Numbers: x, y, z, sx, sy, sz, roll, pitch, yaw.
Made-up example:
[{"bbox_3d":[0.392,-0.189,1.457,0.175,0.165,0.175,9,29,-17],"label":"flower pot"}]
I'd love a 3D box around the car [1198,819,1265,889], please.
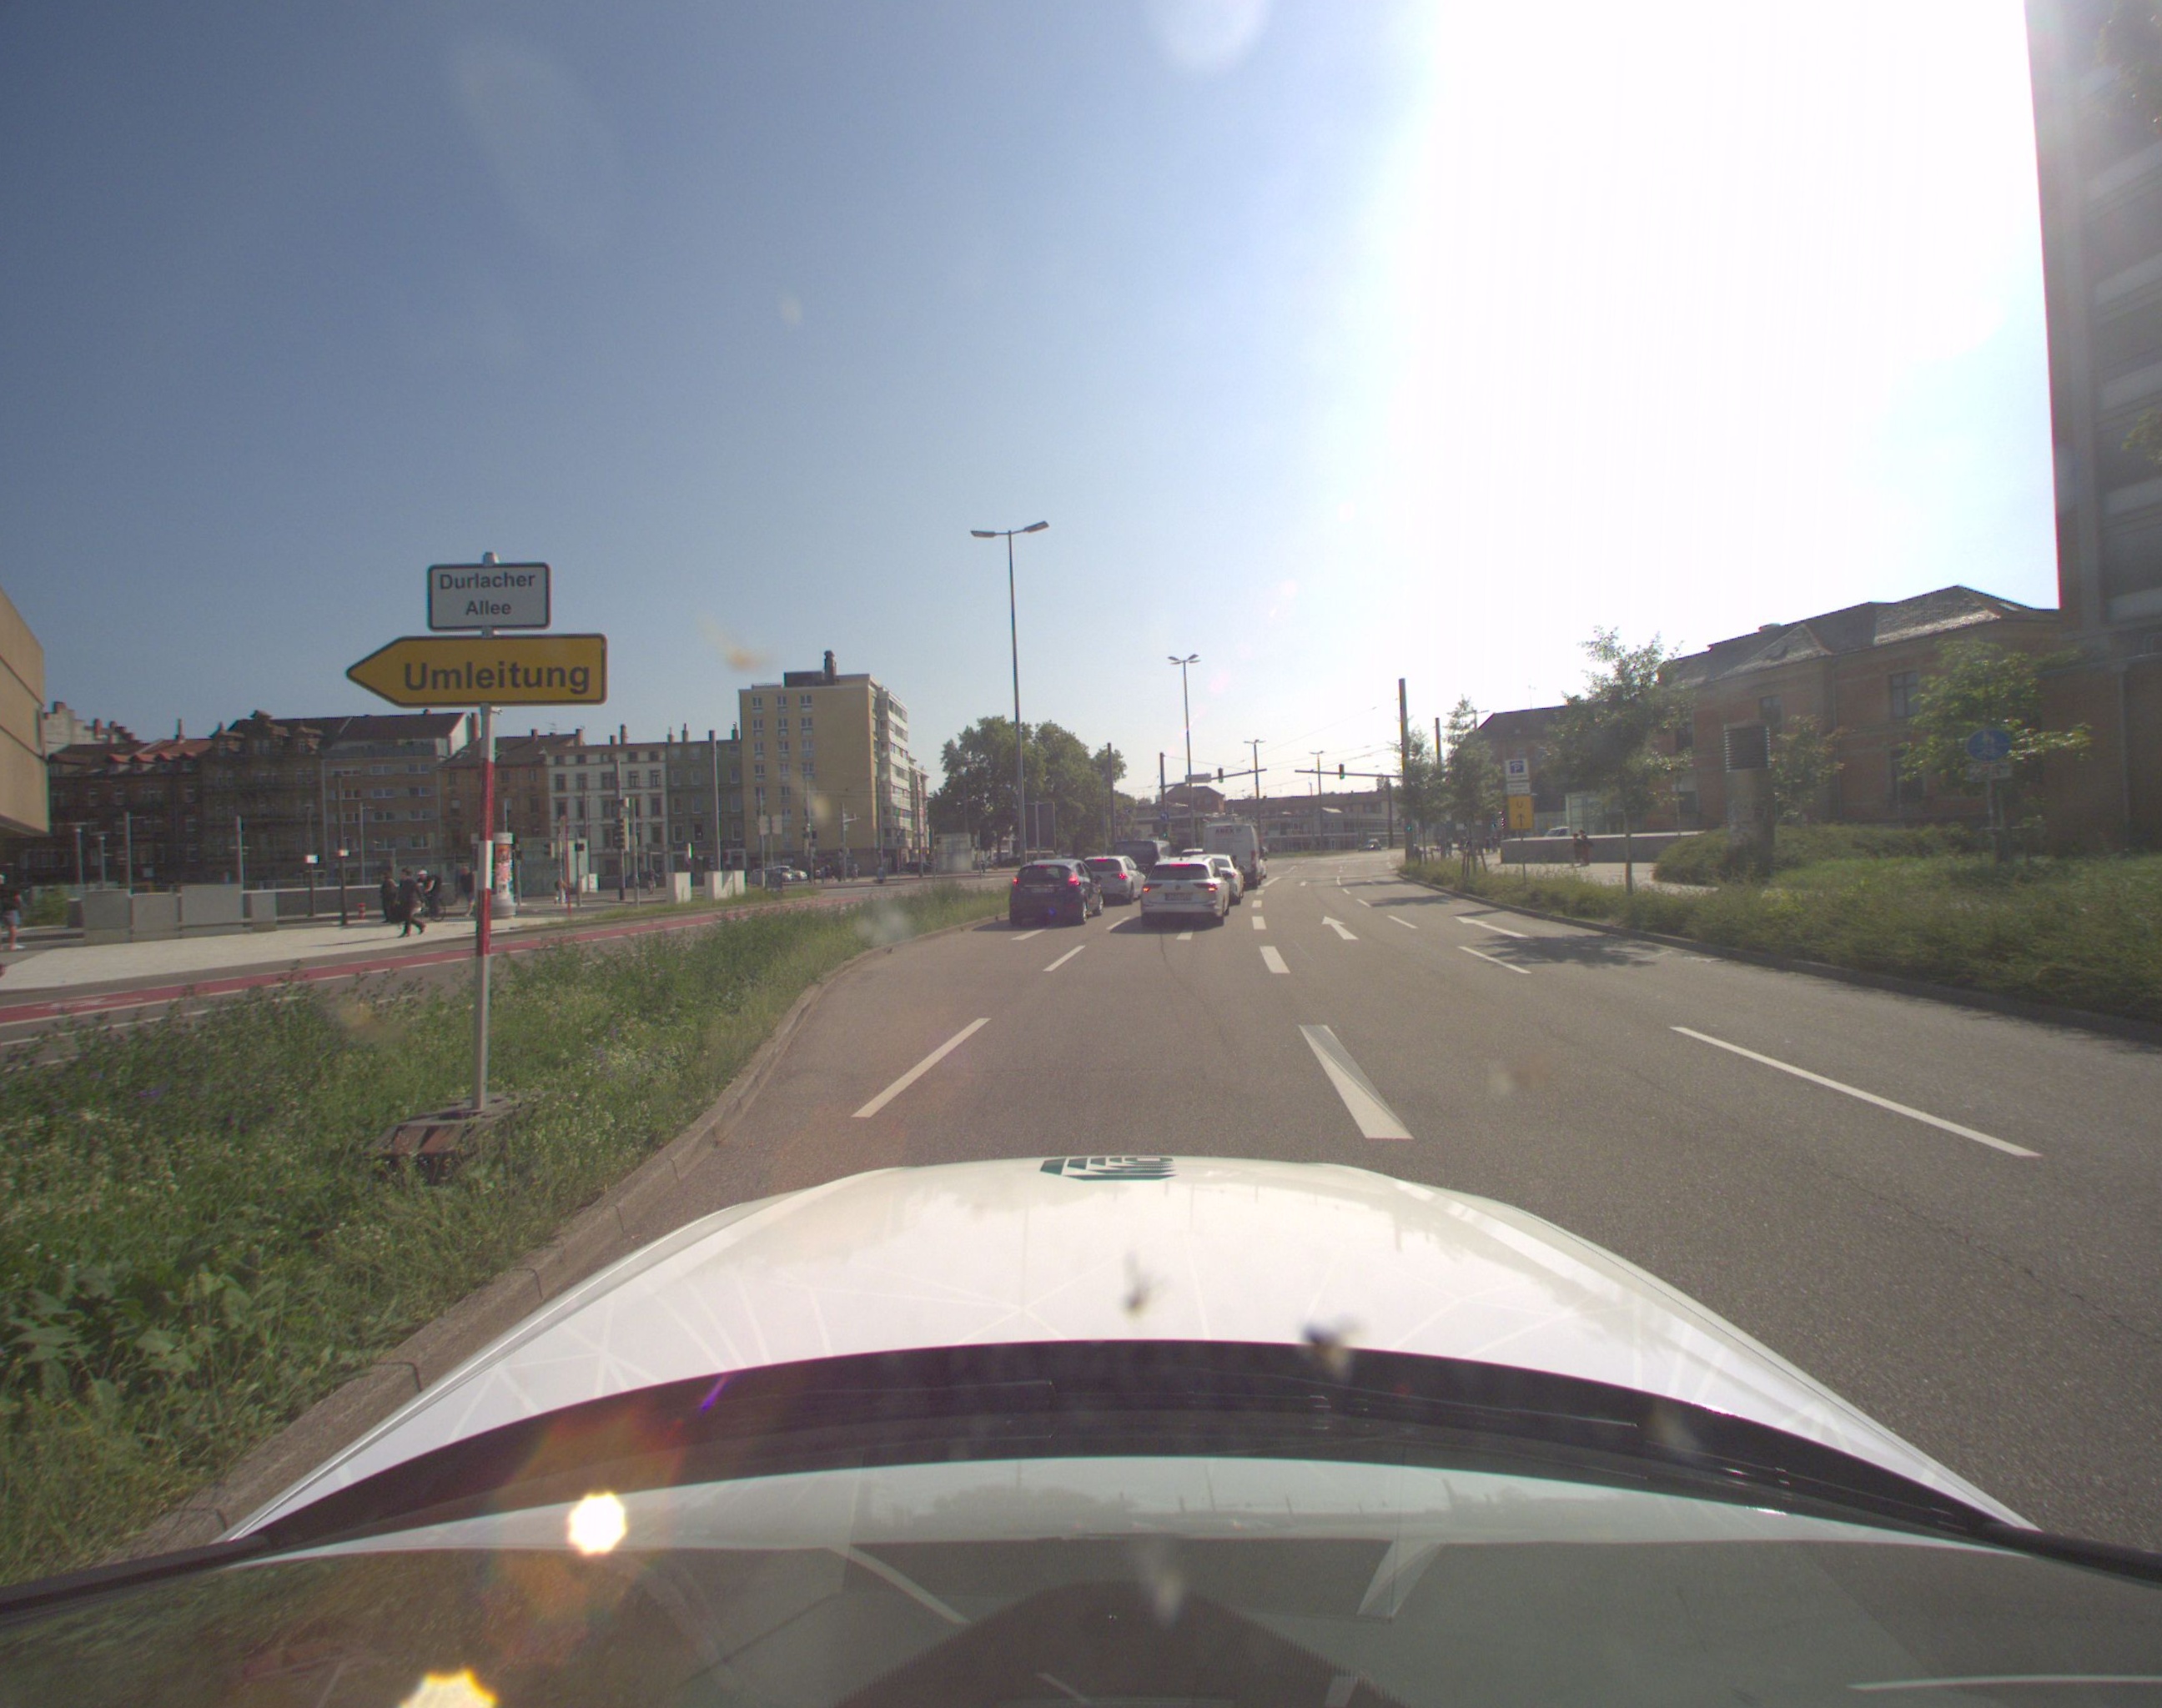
[{"bbox_3d":[6.143,0.002,32.845,2.172,2.549,4.703,-2,-1,15],"label":"car"}]

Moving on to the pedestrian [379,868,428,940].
[{"bbox_3d":[-18.042,1.304,21.703,0.852,1.778,0.867,-4,3,-37],"label":"pedestrian"}]

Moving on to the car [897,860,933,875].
[{"bbox_3d":[-20.297,1.665,99.868,3.973,1.557,1.869,-2,2,0],"label":"car"}]

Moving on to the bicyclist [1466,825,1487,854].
[{"bbox_3d":[21.527,-0.778,44.375,0.767,1.578,0.994,-2,0,12],"label":"bicyclist"}]

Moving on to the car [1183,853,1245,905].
[{"bbox_3d":[4.033,0.695,24.259,1.478,1.403,3.956,-2,-1,13],"label":"car"}]

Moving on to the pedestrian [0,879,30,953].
[{"bbox_3d":[-27.132,1.552,20.569,0.388,1.818,0.561,-1,2,26],"label":"pedestrian"}]

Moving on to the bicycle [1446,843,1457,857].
[{"bbox_3d":[30.454,-0.357,66.912,0.699,1.061,1.994,-3,0,26],"label":"bicycle"}]

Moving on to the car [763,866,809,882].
[{"bbox_3d":[-28.304,1.916,78.118,3.725,1.393,1.587,-2,0,0],"label":"car"}]

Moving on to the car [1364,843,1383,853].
[{"bbox_3d":[50.350,-1.023,140.118,1.974,1.442,4.026,-3,0,38],"label":"car"}]

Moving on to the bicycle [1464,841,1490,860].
[{"bbox_3d":[21.547,-0.210,44.359,0.767,0.976,2.157,-2,0,12],"label":"bicycle"}]

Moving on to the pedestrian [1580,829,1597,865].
[{"bbox_3d":[23.629,-0.323,37.899,0.608,1.628,0.537,-2,0,31],"label":"pedestrian"}]

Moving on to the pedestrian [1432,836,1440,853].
[{"bbox_3d":[43.042,-1.138,98.693,0.739,2.013,0.811,-3,0,26],"label":"pedestrian"}]

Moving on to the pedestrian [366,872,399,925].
[{"bbox_3d":[-21.644,1.368,25.235,0.494,1.579,0.510,-2,2,15],"label":"pedestrian"}]

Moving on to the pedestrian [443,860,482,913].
[{"bbox_3d":[-22.262,1.147,29.322,0.884,1.818,0.888,-3,2,-28],"label":"pedestrian"}]

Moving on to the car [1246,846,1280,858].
[{"bbox_3d":[22.292,-0.272,99.971,3.944,1.342,1.934,-2,0,7],"label":"car"}]

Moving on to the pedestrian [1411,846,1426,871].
[{"bbox_3d":[19.126,0.237,46.126,0.632,1.362,0.636,-2,0,9],"label":"pedestrian"}]

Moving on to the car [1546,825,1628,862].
[{"bbox_3d":[30.706,-0.649,49.485,3.982,2.013,1.750,-3,2,-7],"label":"car"}]

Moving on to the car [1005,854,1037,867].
[{"bbox_3d":[-8.077,0.859,110.227,3.970,1.618,1.815,-2,0,3],"label":"car"}]

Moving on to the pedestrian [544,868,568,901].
[{"bbox_3d":[-29.480,1.701,45.697,0.830,1.819,0.778,-1,-2,0],"label":"pedestrian"}]

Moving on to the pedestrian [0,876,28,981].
[{"bbox_3d":[-18.495,1.260,13.619,0.679,1.760,0.872,-2,0,-21],"label":"pedestrian"}]

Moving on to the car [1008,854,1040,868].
[{"bbox_3d":[-7.571,0.927,108.371,3.970,1.618,1.815,-2,0,3],"label":"car"}]

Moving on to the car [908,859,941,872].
[{"bbox_3d":[-20.506,1.509,106.990,3.975,1.558,1.868,-2,0,-1],"label":"car"}]

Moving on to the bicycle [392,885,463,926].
[{"bbox_3d":[-20.293,1.574,25.341,0.559,1.064,1.854,-1,2,4],"label":"bicycle"}]

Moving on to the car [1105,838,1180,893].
[{"bbox_3d":[2.566,0.413,32.658,2.008,2.008,4.704,-2,0,16],"label":"car"}]

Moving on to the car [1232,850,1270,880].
[{"bbox_3d":[8.675,0.539,41.335,1.625,1.403,3.702,-2,0,15],"label":"car"}]

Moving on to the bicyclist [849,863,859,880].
[{"bbox_3d":[-20.178,1.569,72.380,0.724,1.434,0.689,-2,0,-4],"label":"bicyclist"}]

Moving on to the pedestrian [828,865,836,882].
[{"bbox_3d":[-22.317,1.720,72.863,0.501,1.487,0.435,-4,3,-39],"label":"pedestrian"}]

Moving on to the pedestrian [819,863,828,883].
[{"bbox_3d":[-22.642,1.674,71.564,0.451,1.684,0.549,-2,2,12],"label":"pedestrian"}]

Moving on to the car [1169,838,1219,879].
[{"bbox_3d":[6.024,0.204,42.957,2.009,2.008,4.702,-2,0,14],"label":"car"}]

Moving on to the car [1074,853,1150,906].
[{"bbox_3d":[1.026,0.727,25.101,1.478,1.415,3.663,-2,0,15],"label":"car"}]

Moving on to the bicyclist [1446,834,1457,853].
[{"bbox_3d":[30.428,-0.892,66.918,0.706,1.529,0.811,-3,0,26],"label":"bicyclist"}]

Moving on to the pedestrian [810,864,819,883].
[{"bbox_3d":[-23.233,1.691,71.041,0.450,1.684,0.550,-1,2,24],"label":"pedestrian"}]

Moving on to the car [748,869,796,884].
[{"bbox_3d":[-28.487,2.086,75.091,3.813,1.180,1.577,-2,-2,3],"label":"car"}]

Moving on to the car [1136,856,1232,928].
[{"bbox_3d":[2.362,0.771,17.998,1.673,1.387,3.647,-2,-1,13],"label":"car"}]

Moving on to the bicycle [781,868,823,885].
[{"bbox_3d":[-29.539,2.374,86.365,3.977,1.551,1.195,-2,2,-2],"label":"bicycle"}]

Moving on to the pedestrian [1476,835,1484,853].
[{"bbox_3d":[46.653,-1.140,95.237,0.739,2.013,0.811,-3,0,26],"label":"pedestrian"}]

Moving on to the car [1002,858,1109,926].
[{"bbox_3d":[-0.478,0.824,19.211,1.691,1.368,3.975,-2,0,10],"label":"car"}]

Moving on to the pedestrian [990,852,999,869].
[{"bbox_3d":[-10.018,0.755,94.240,0.819,2.013,0.509,-2,0,2],"label":"pedestrian"}]

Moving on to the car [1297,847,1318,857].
[{"bbox_3d":[36.609,-0.350,131.728,1.974,1.442,4.026,-3,0,37],"label":"car"}]

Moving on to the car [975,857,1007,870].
[{"bbox_3d":[-11.842,1.257,107.424,3.975,1.558,1.727,-2,0,-1],"label":"car"}]

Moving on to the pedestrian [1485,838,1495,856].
[{"bbox_3d":[36.372,-0.628,72.386,0.739,1.529,0.811,-3,0,26],"label":"pedestrian"}]

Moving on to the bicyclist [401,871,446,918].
[{"bbox_3d":[-20.316,1.247,25.175,0.560,1.361,0.884,-1,2,4],"label":"bicyclist"}]

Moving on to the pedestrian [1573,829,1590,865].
[{"bbox_3d":[23.084,-0.319,37.541,0.608,1.639,0.537,-3,0,33],"label":"pedestrian"}]

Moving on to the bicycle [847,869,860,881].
[{"bbox_3d":[-20.161,1.879,72.319,0.726,0.984,1.729,-2,0,-4],"label":"bicycle"}]

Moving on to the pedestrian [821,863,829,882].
[{"bbox_3d":[-22.780,1.659,72.464,0.458,1.684,0.435,-4,3,-39],"label":"pedestrian"}]
